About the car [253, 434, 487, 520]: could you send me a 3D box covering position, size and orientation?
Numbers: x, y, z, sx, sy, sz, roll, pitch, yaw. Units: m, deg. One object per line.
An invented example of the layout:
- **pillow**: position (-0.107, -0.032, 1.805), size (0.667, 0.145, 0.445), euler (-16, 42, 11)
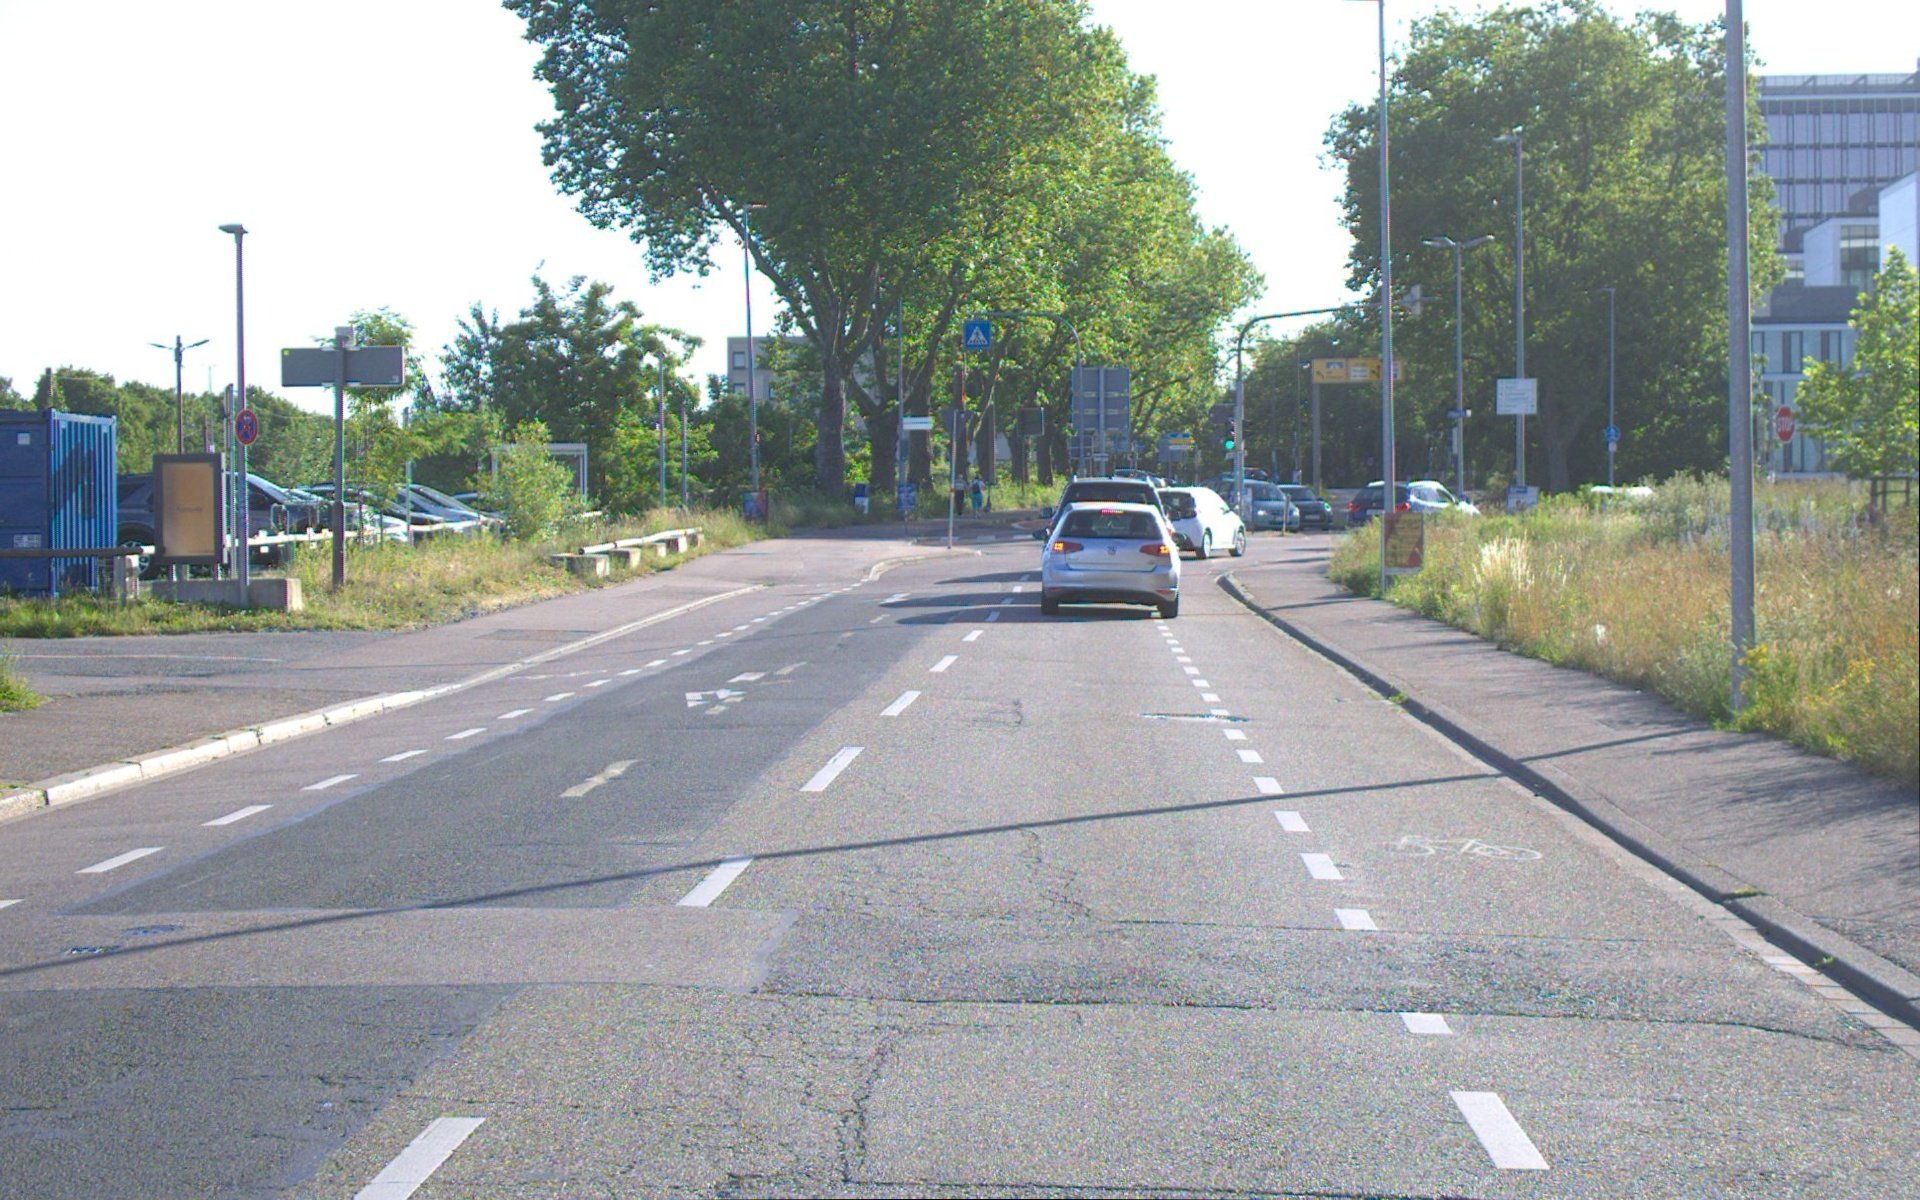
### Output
- **car**: position (-11.177, -2.347, 65.270), size (4.088, 1.552, 1.878), euler (1, 3, 2)

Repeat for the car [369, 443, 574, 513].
- **car**: position (-11.254, -2.824, 79.382), size (4.425, 1.552, 1.878), euler (1, 3, 2)

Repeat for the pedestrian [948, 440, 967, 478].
- **pedestrian**: position (-0.089, -5.251, 128.077), size (0.678, 1.410, 0.684), euler (0, 2, 3)

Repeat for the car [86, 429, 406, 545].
- **car**: position (-11.771, -1.887, 56.905), size (4.845, 1.828, 2.000), euler (1, 3, 2)

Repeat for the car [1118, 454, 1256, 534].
- **car**: position (4.768, -2.233, 71.730), size (1.900, 1.590, 3.997), euler (1, 3, 19)

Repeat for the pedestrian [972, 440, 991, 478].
- **pedestrian**: position (0.805, -5.234, 127.933), size (0.678, 1.410, 0.684), euler (0, 2, 3)

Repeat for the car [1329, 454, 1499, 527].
- **car**: position (10.761, -2.599, 81.280), size (2.169, 1.678, 3.991), euler (2, 3, 40)

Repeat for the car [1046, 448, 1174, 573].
- **car**: position (2.256, -1.385, 51.768), size (1.819, 1.762, 4.629), euler (1, 3, 3)

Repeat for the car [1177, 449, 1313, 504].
- **car**: position (8.609, -3.734, 104.053), size (1.994, 1.590, 4.000), euler (-1, 3, -35)

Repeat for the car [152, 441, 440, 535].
- **car**: position (-11.532, -1.960, 59.874), size (4.594, 1.552, 2.000), euler (1, 3, 2)

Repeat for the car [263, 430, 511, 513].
- **car**: position (-11.318, -2.549, 68.081), size (4.542, 1.552, 1.878), euler (1, 3, 2)

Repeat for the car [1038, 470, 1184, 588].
- **car**: position (1.966, -0.956, 44.583), size (1.790, 1.415, 4.000), euler (1, 3, 3)
